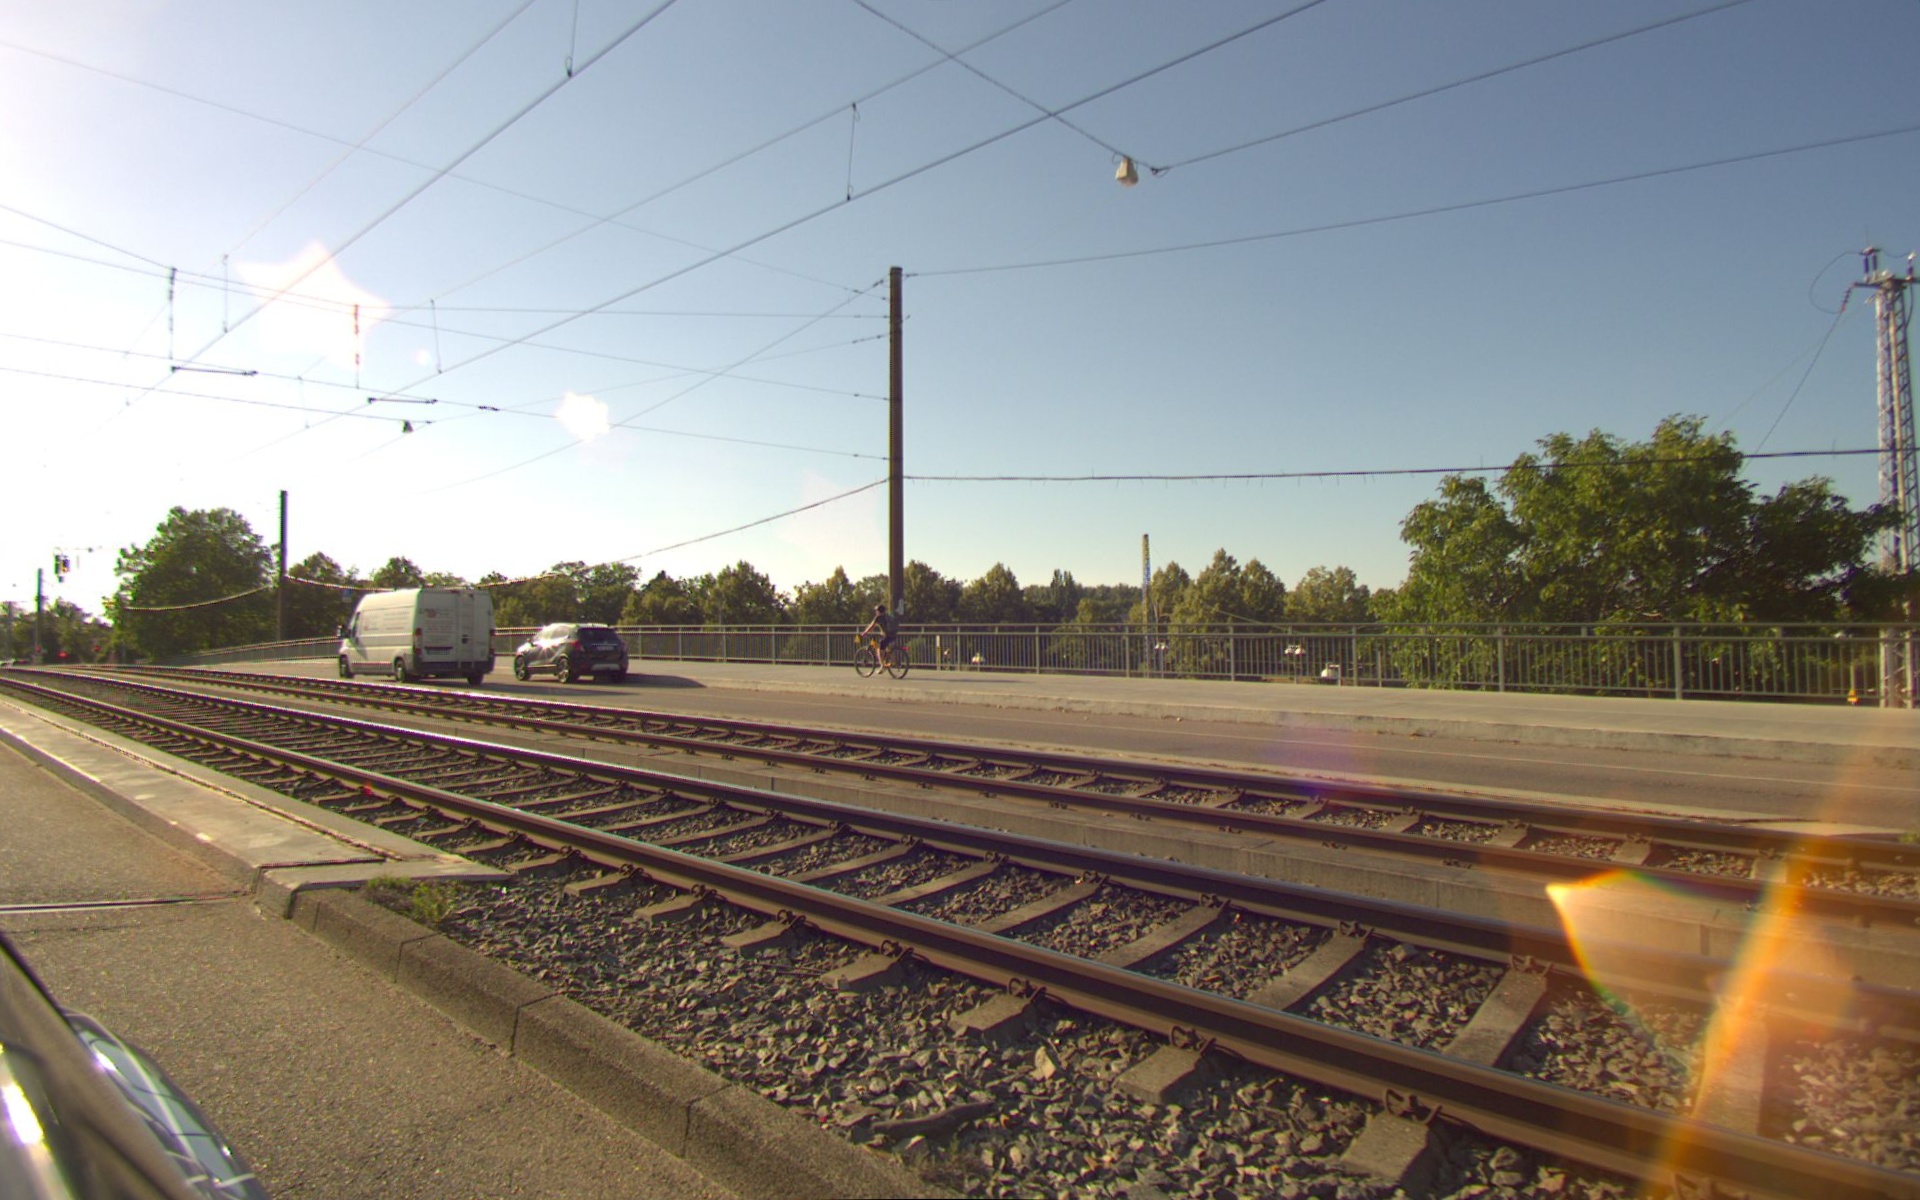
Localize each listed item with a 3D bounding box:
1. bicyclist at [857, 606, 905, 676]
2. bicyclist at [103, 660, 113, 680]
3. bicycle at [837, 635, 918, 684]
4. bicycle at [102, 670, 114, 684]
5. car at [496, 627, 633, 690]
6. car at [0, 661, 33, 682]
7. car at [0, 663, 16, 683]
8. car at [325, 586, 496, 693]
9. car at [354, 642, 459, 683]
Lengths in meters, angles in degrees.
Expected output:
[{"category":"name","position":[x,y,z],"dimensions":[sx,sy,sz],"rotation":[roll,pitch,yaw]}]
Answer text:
[{"category":"bicyclist","position":[-1.920,0.988,24.526],"dimensions":[0.889,1.639,0.672],"rotation":[-2,0,42]},{"category":"bicyclist","position":[-71.865,5.904,85.360],"dimensions":[0.618,1.645,0.936],"rotation":[0,-3,-44]},{"category":"bicycle","position":[-2.019,1.438,24.624],"dimensions":[2.099,1.106,0.672],"rotation":[-2,0,42]},{"category":"bicycle","position":[-71.850,6.481,85.336],"dimensions":[0.618,1.131,2.261],"rotation":[0,-3,-44]},{"category":"car","position":[-11.297,1.668,28.776],"dimensions":[4.444,1.663,1.761],"rotation":[-3,-5,41]},{"category":"car","position":[-73.928,5.564,79.028],"dimensions":[3.998,1.531,1.789],"rotation":[-5,-6,41]},{"category":"car","position":[-81.893,6.242,85.991],"dimensions":[5.087,1.649,1.980],"rotation":[-4,-3,41]},{"category":"car","position":[-14.963,1.061,27.365],"dimensions":[6.036,2.613,2.065],"rotation":[-2,-2,41]},{"category":"car","position":[-19.955,2.197,36.401],"dimensions":[4.917,1.367,1.666],"rotation":[-2,-4,41]}]
